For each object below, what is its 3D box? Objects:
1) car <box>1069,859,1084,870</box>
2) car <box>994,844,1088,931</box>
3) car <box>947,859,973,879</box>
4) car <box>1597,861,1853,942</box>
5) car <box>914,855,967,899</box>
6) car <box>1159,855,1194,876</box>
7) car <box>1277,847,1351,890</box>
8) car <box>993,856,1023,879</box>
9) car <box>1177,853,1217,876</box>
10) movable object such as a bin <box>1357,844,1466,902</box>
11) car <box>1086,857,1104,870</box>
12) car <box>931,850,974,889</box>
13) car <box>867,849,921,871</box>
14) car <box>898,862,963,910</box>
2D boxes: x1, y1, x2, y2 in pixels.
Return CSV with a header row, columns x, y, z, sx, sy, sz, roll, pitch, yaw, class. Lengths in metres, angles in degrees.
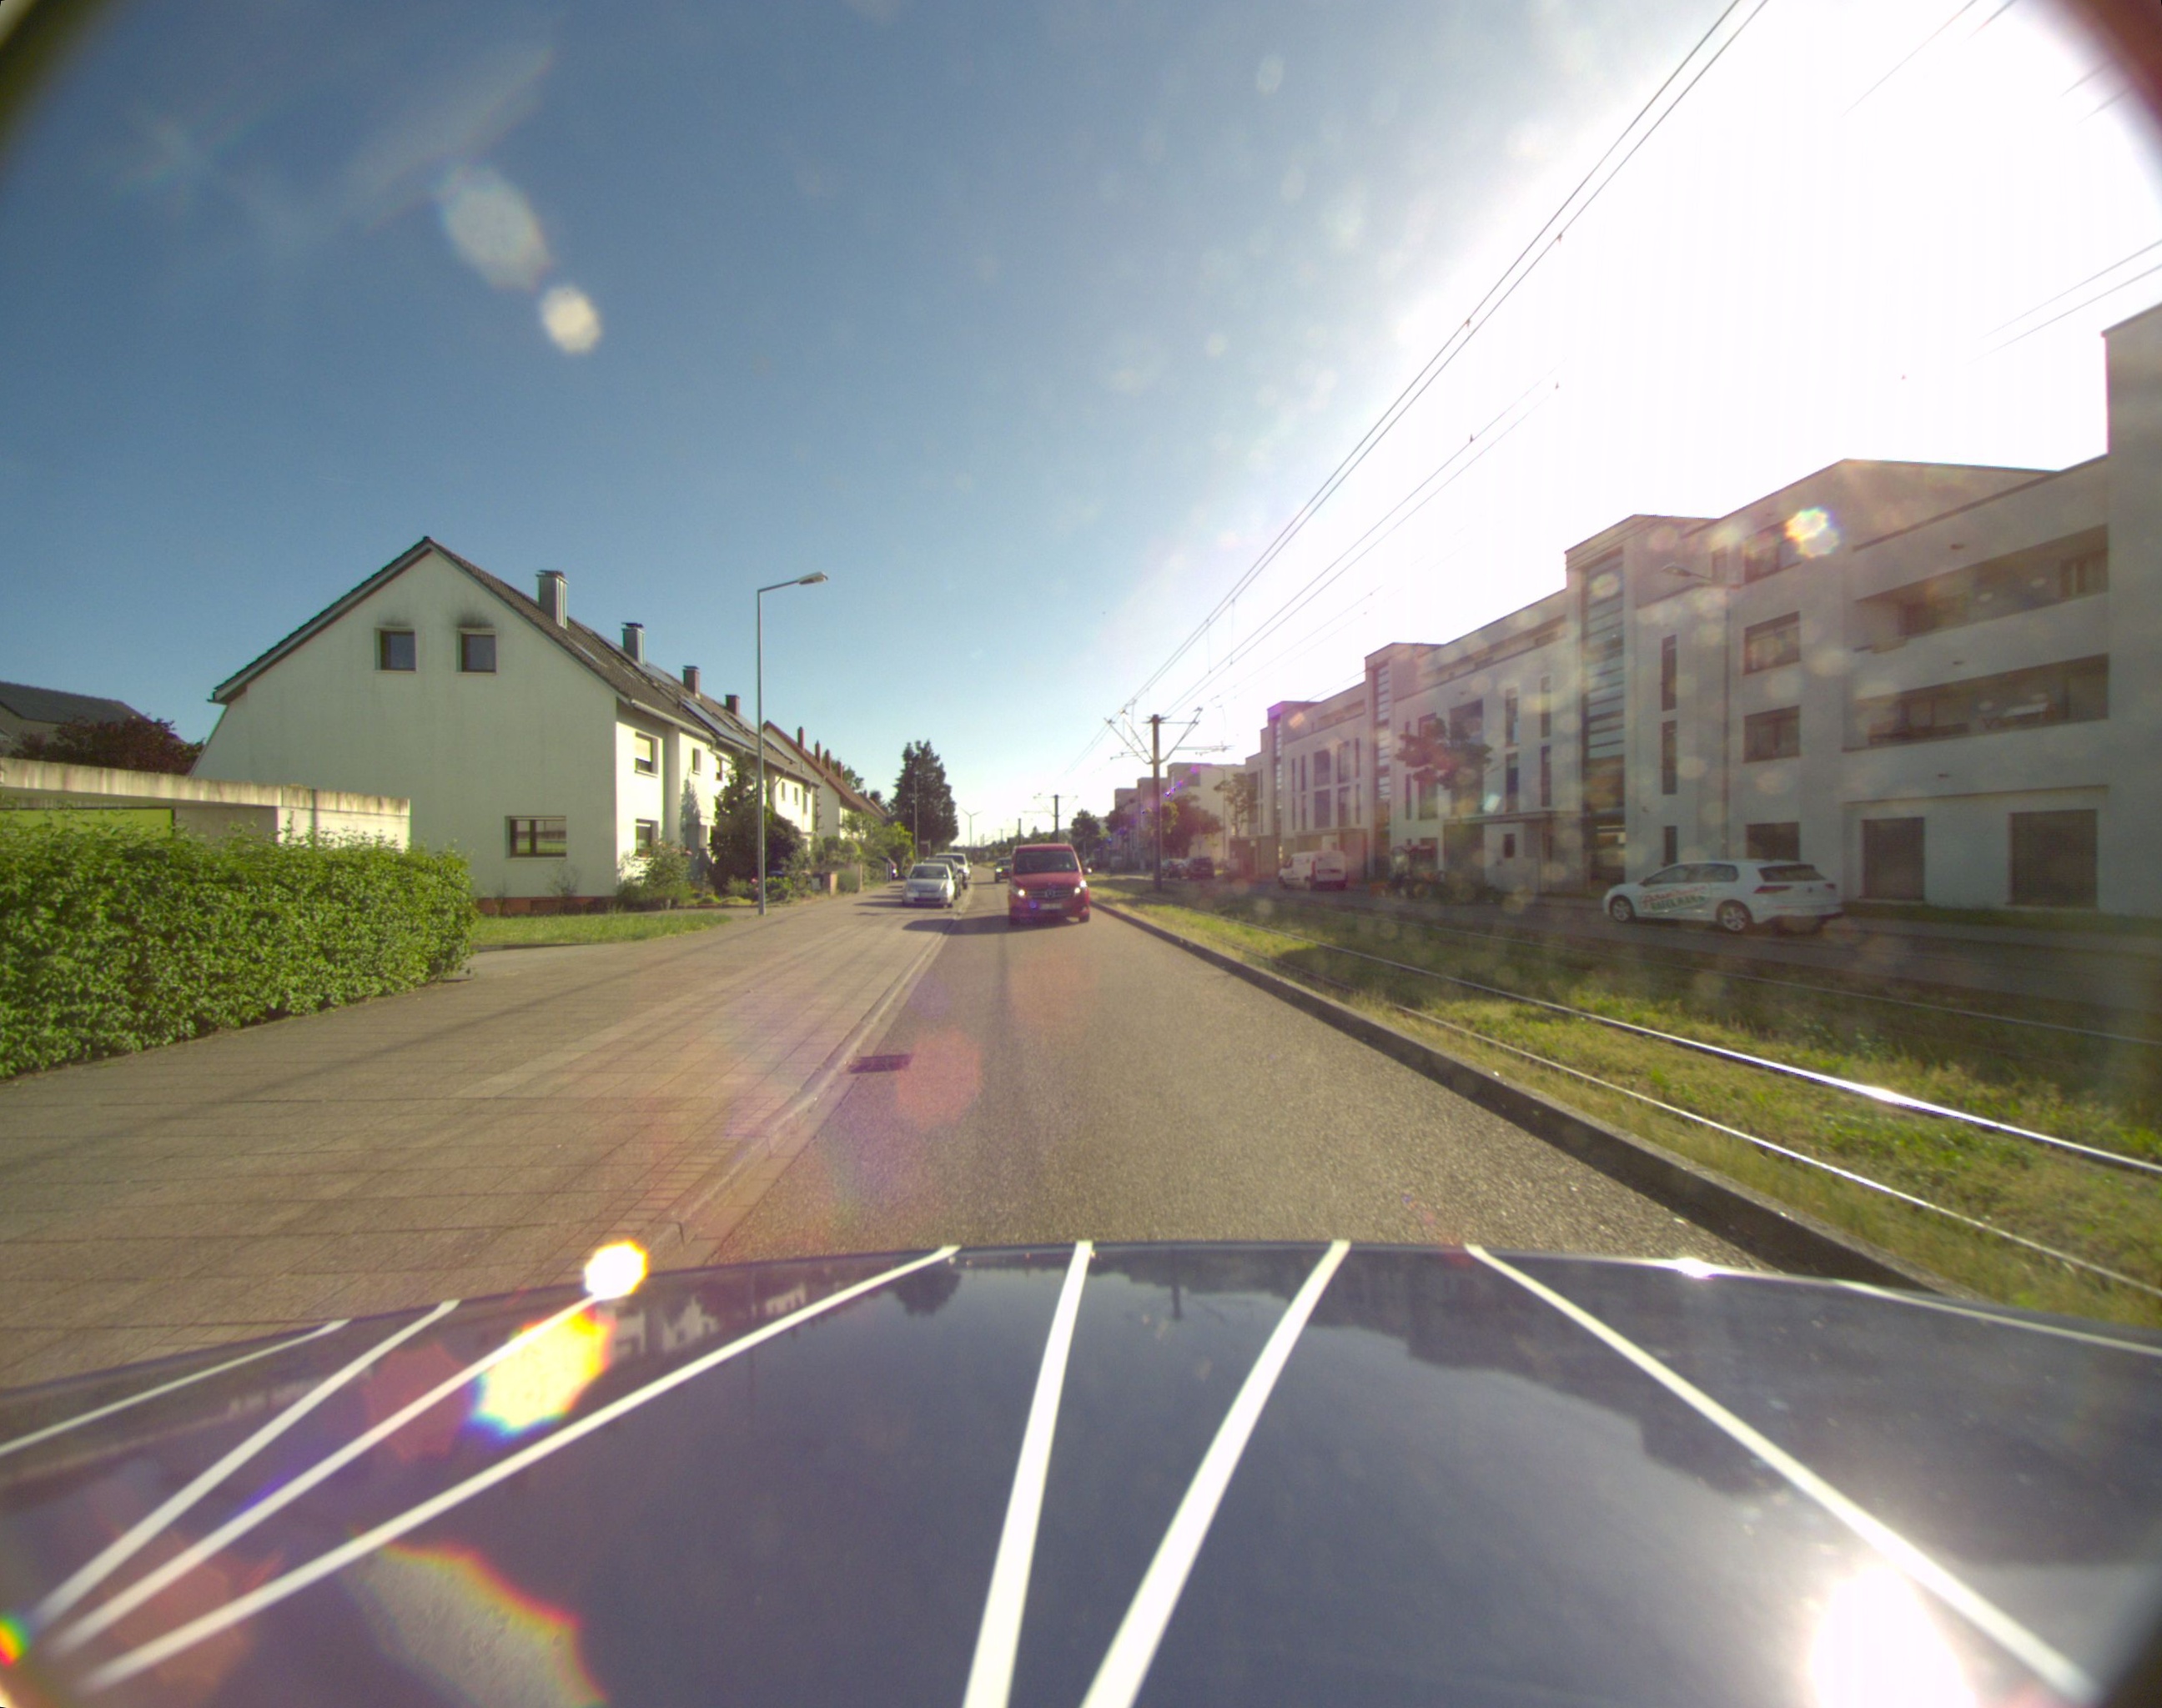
x,y,z,sx,sy,sz,roll,pitch,yaw,class
-0.681,1.562,116.638,1.767,1.590,4.154,-2,0,-8,car
-0.900,0.775,20.039,1.979,1.922,5.205,-3,0,1,car
-9.386,1.174,59.199,1.700,1.466,4.012,1,0,-4,car
13.282,0.886,16.065,1.522,1.423,4.154,-2,0,-8,car
-5.853,0.916,32.046,1.700,1.692,4.012,1,0,-4,car
7.722,0.897,61.522,1.767,1.590,4.154,-2,0,-8,car
11.077,0.673,36.371,1.767,1.859,4.154,-2,0,-8,car
-4.952,0.893,51.740,1.894,1.506,3.752,1,0,-4,car
8.482,0.776,55.927,1.767,1.590,4.154,-2,0,-8,car
12.165,0.661,28.285,1.767,1.926,4.154,-2,0,-8,movable object such as a bin
1.791,1.256,101.008,1.767,1.590,4.154,-2,0,-8,car
-6.890,0.822,41.211,1.894,1.951,4.012,1,0,-4,car
-15.878,0.518,64.643,3.998,1.674,2.000,-2,0,-2,car
-5.087,1.053,26.204,1.700,1.466,4.012,1,0,-4,car
